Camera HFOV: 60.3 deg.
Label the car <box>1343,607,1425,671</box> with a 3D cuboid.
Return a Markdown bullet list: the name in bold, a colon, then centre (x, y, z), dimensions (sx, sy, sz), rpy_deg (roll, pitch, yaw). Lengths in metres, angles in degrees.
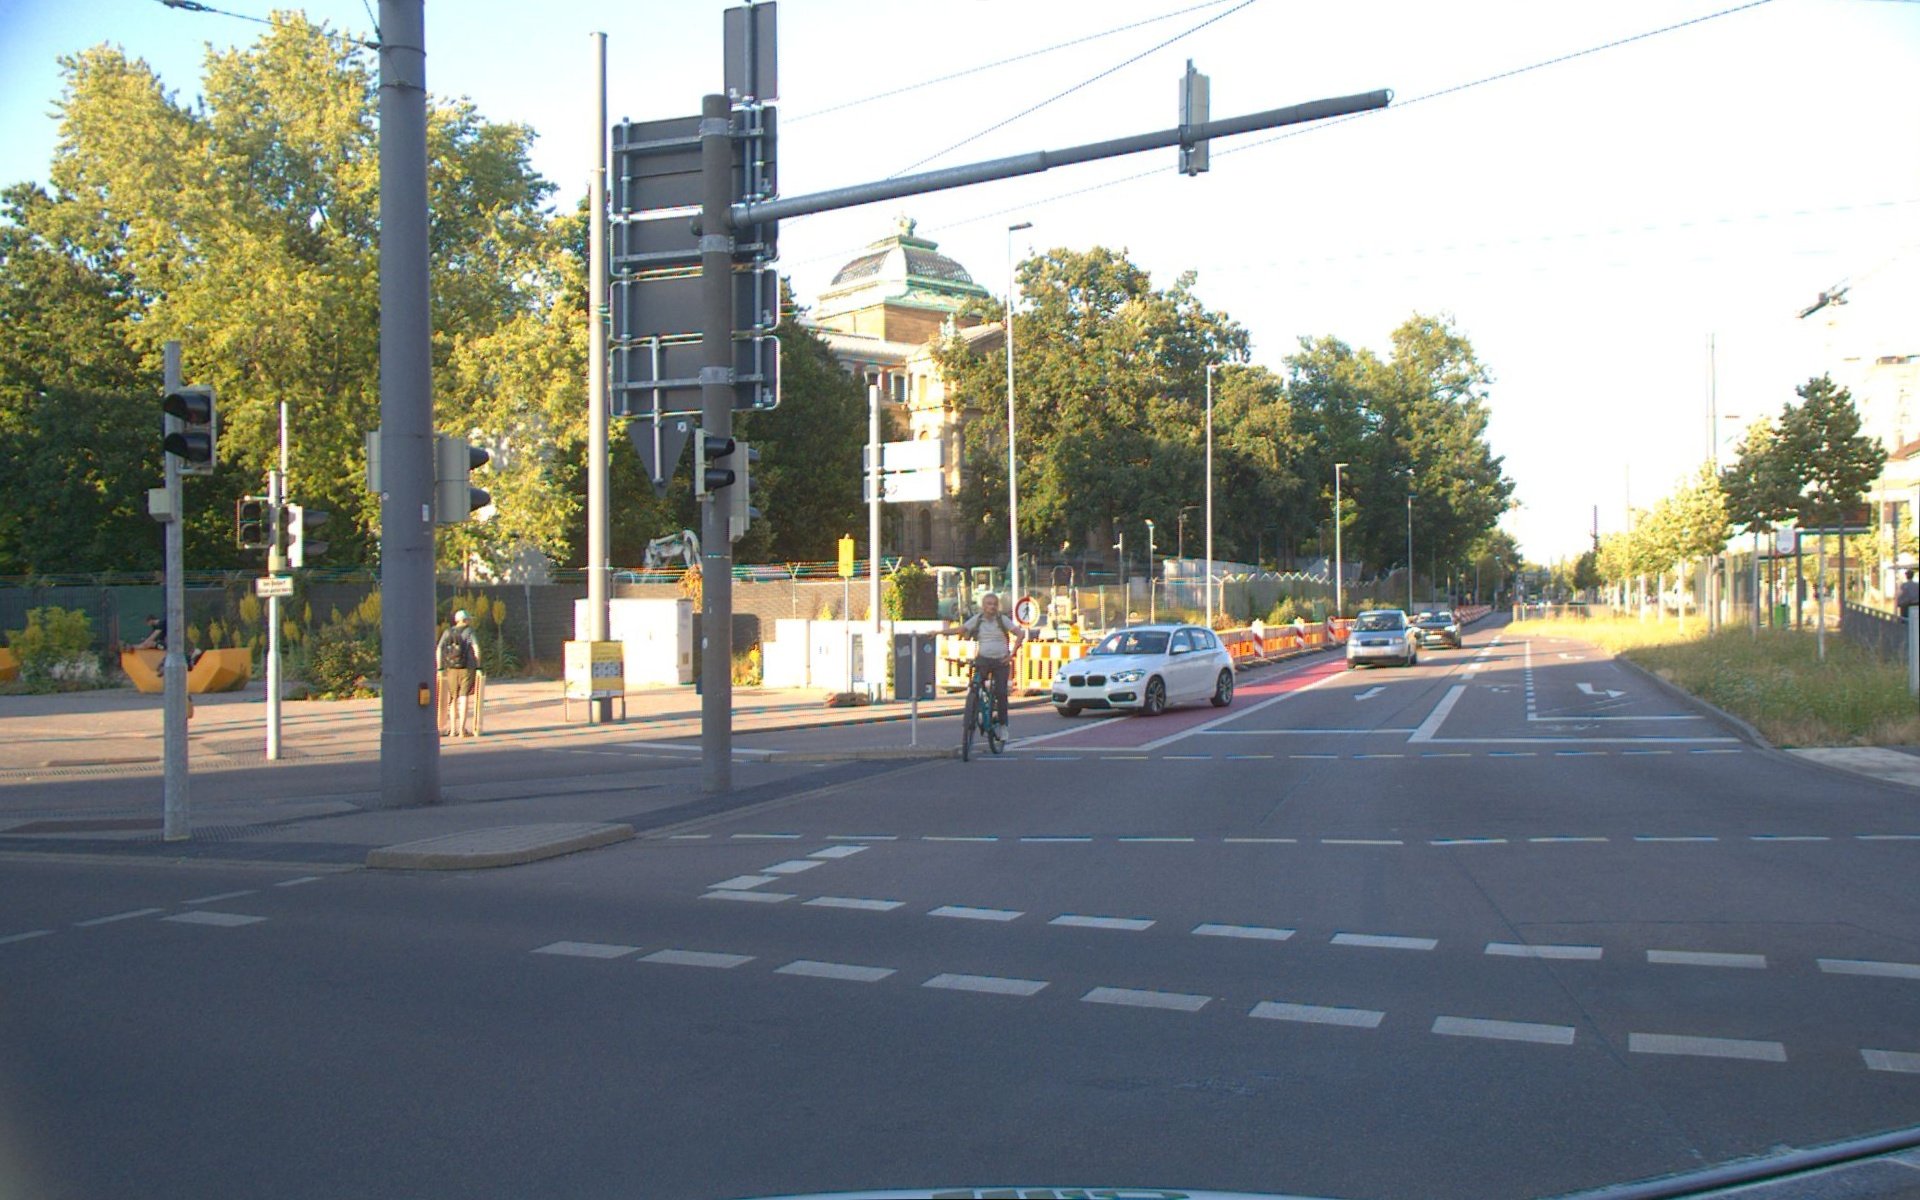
- **car**: centre (11.661, 1.068, 45.340), dimensions (1.641, 1.588, 3.726), rpy_deg (-4, -2, 22)

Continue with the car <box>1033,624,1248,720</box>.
- **car**: centre (3.128, 1.173, 27.888), dimensions (1.876, 1.430, 4.293), rpy_deg (-3, -1, 32)

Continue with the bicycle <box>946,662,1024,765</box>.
- **bicycle**: centre (0.304, 1.262, 18.728), dimensions (0.582, 1.041, 1.849), rpy_deg (-1, -1, 10)

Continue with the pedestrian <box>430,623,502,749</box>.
- **pedestrian**: centre (-7.170, 1.220, 23.985), dimensions (0.928, 1.766, 0.816), rpy_deg (-1, -1, -22)

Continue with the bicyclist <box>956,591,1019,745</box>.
- **bicyclist**: centre (0.315, 0.762, 18.801), dimensions (0.581, 1.700, 0.749), rpy_deg (-1, -1, 10)

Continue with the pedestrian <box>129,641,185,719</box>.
- **pedestrian**: centre (-17.997, 1.786, 37.077), dimensions (0.746, 1.694, 0.822), rpy_deg (-2, -1, 25)

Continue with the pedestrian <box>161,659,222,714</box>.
- **pedestrian**: centre (-17.150, 1.916, 36.912), dimensions (0.718, 1.178, 0.990), rpy_deg (-2, -1, 25)

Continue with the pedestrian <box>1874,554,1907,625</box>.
- **pedestrian**: centre (21.445, -0.237, 38.125), dimensions (0.552, 1.619, 0.690), rpy_deg (-1, -1, 23)

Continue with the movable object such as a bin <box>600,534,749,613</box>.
- **movable object such as a bin**: centre (-8.135, -0.695, 46.793), dimensions (1.981, 2.049, 4.952), rpy_deg (-1, -1, -39)

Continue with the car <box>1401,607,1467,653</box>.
- **car**: centre (17.999, 1.111, 62.731), dimensions (1.898, 1.646, 4.391), rpy_deg (-2, -1, 22)
